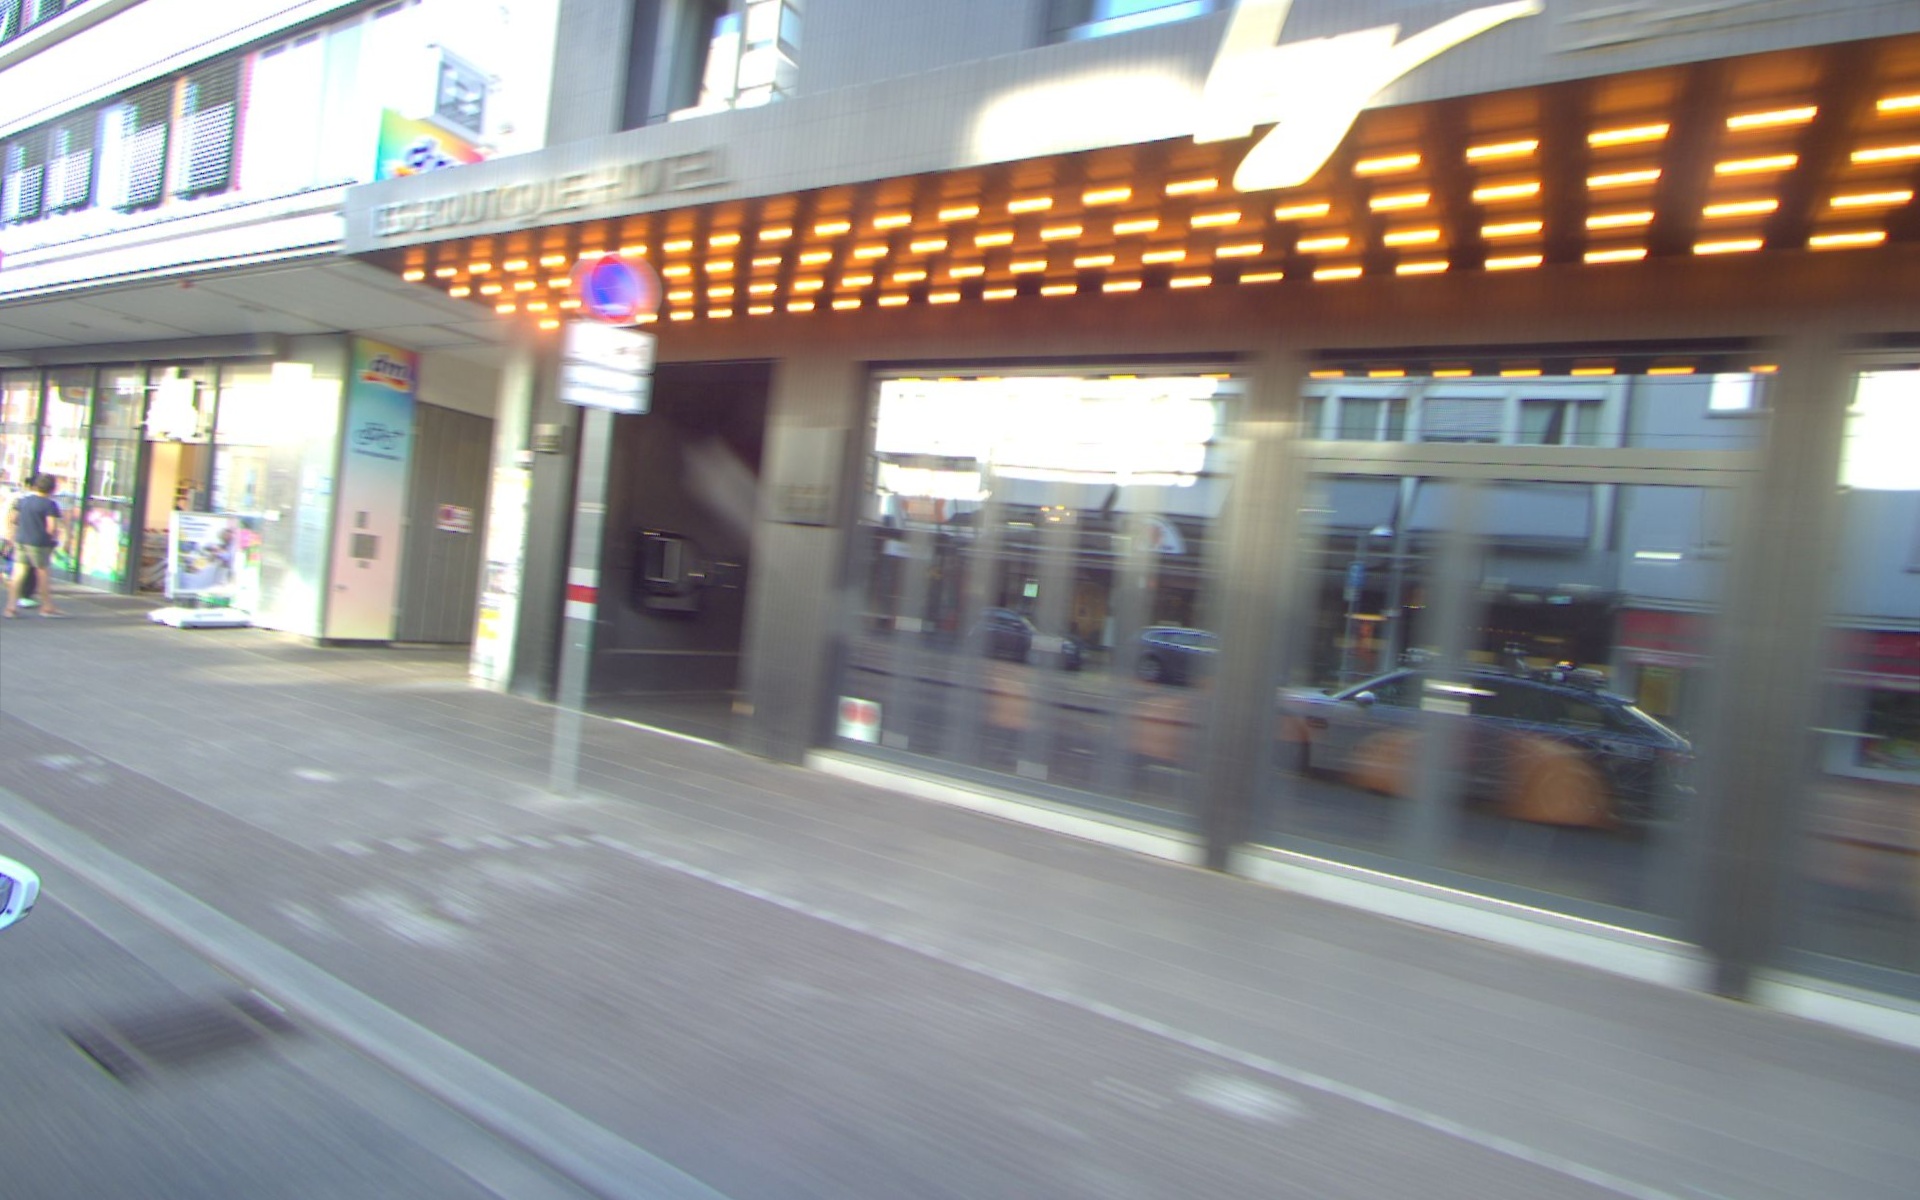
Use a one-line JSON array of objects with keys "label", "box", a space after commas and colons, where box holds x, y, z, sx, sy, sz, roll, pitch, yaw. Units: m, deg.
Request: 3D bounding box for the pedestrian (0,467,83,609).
[{"label": "pedestrian", "box": [-10.966, -0.731, 11.967, 0.587, 1.607, 0.581, 7, 3, 29]}]

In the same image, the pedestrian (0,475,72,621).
[{"label": "pedestrian", "box": [-10.107, -0.561, 10.903, 0.573, 1.514, 0.523, 7, 3, 30]}]

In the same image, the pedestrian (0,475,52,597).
[{"label": "pedestrian", "box": [-12.211, -0.829, 12.879, 0.586, 1.506, 0.582, 5, 3, 0]}]
